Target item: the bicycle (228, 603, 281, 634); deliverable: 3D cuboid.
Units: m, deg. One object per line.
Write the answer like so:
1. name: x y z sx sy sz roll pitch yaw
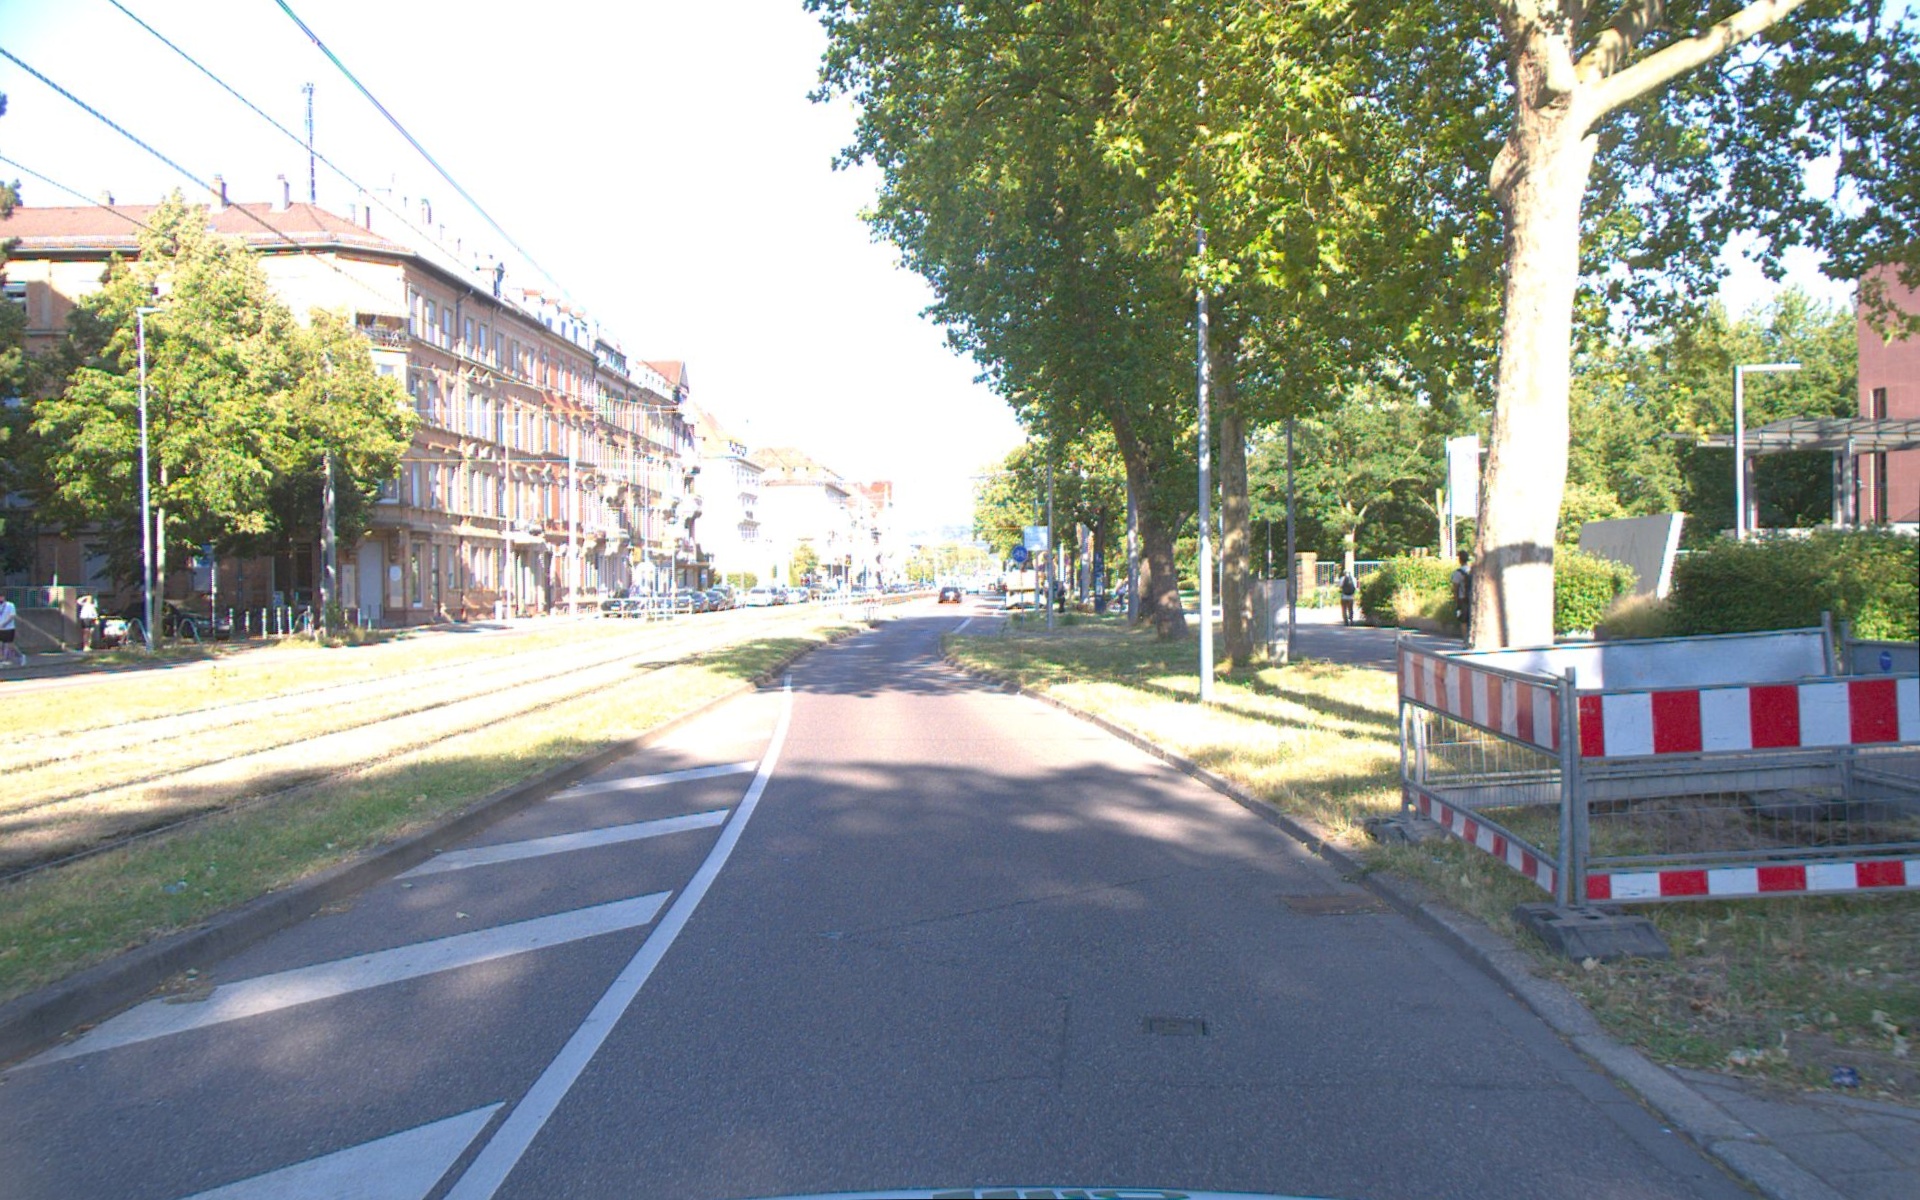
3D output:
1. bicycle: -28.213 0.739 66.149 0.768 1.199 2.242 1 0 13

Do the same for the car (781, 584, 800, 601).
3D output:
1. car: -17.306 -0.796 169.213 1.495 1.588 3.224 1 2 1

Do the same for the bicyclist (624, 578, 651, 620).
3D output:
1. bicyclist: -13.805 -0.032 70.796 0.748 1.745 0.923 -1 2 20

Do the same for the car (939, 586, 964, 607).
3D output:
1. car: -0.720 -0.293 139.280 1.952 1.713 4.001 1 0 2

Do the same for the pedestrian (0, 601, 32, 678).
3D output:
1. pedestrian: -22.789 0.946 39.535 0.636 1.806 0.888 -2 0 0

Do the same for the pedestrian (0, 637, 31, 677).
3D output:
1. pedestrian: -23.289 1.396 40.535 0.636 0.948 0.585 -2 0 7

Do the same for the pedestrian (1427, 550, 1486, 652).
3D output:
1. pedestrian: 9.212 0.014 30.712 0.734 1.824 1.086 -2 0 2

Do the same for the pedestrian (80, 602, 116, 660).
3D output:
1. pedestrian: -24.707 0.884 47.417 0.605 1.621 0.797 1 0 0

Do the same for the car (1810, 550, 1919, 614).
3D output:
1. car: 25.130 -0.506 44.217 4.097 1.533 1.989 -3 2 -19

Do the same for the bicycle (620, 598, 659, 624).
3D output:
1. bicycle: -13.743 0.461 70.936 0.748 1.058 1.960 -1 2 20

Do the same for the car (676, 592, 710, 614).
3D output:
1. car: -18.915 0.216 117.282 1.740 1.431 3.910 1 2 1

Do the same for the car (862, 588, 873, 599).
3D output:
1. car: -14.206 -0.977 253.916 1.495 1.588 3.224 1 2 1

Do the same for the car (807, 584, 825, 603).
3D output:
1. car: -16.839 -0.767 193.460 1.624 2.177 3.526 1 1 1

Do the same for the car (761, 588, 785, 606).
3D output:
1. car: -17.313 -0.296 153.178 1.705 1.588 3.768 1 2 1

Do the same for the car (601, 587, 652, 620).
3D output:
1. car: -19.791 0.161 98.203 1.974 1.784 4.559 1 2 1

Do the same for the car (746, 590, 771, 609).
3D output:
1. car: -18.054 -0.048 148.441 1.705 1.588 3.768 1 2 1

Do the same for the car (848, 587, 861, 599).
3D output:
1. car: -15.091 -0.955 236.996 1.495 1.588 3.224 1 2 1

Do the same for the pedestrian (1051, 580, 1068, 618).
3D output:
1. pedestrian: 4.486 -0.061 74.467 0.647 1.675 0.863 -3 0 2

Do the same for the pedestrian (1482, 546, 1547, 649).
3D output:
1. pedestrian: 10.158 -0.043 30.351 0.789 1.824 1.110 -2 0 2

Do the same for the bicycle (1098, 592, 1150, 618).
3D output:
1. bicycle: 7.235 0.222 72.881 2.213 1.059 0.767 -1 1 2

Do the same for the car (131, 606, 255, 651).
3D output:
1. car: -26.935 0.963 58.072 4.101 1.497 1.996 0 0 31

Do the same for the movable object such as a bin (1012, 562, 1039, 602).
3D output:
1. movable object such as a bin: 5.315 -1.478 133.829 1.928 3.065 4.797 -4 0 1

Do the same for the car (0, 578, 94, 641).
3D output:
1. car: -32.071 0.293 56.887 4.514 2.049 1.996 1 0 31

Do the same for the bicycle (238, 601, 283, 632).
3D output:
1. bicycle: -28.641 0.677 67.784 0.769 1.199 2.241 1 0 3

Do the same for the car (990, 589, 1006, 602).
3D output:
1. car: 5.788 -0.624 250.270 1.954 1.892 3.996 1 0 -5

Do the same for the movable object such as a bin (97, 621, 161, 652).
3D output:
1. movable object such as a bin: -24.365 1.068 48.525 1.219 0.880 1.237 1 0 0

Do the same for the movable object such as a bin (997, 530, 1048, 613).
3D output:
1. movable object such as a bin: 4.175 -1.870 111.755 3.024 5.176 8.894 -3 0 1

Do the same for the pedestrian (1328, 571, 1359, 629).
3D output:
1. pedestrian: 10.502 -0.003 45.320 0.636 1.566 0.783 -2 0 2

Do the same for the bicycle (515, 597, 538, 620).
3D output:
1. bicycle: -23.518 0.461 89.718 0.684 1.201 1.751 1 0 2

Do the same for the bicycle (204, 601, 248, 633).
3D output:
1. bicycle: -29.419 0.675 66.325 0.769 1.199 2.240 1 0 0

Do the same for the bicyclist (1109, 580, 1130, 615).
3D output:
1. bicyclist: 7.027 -0.124 72.883 0.884 1.522 0.767 -1 1 2
